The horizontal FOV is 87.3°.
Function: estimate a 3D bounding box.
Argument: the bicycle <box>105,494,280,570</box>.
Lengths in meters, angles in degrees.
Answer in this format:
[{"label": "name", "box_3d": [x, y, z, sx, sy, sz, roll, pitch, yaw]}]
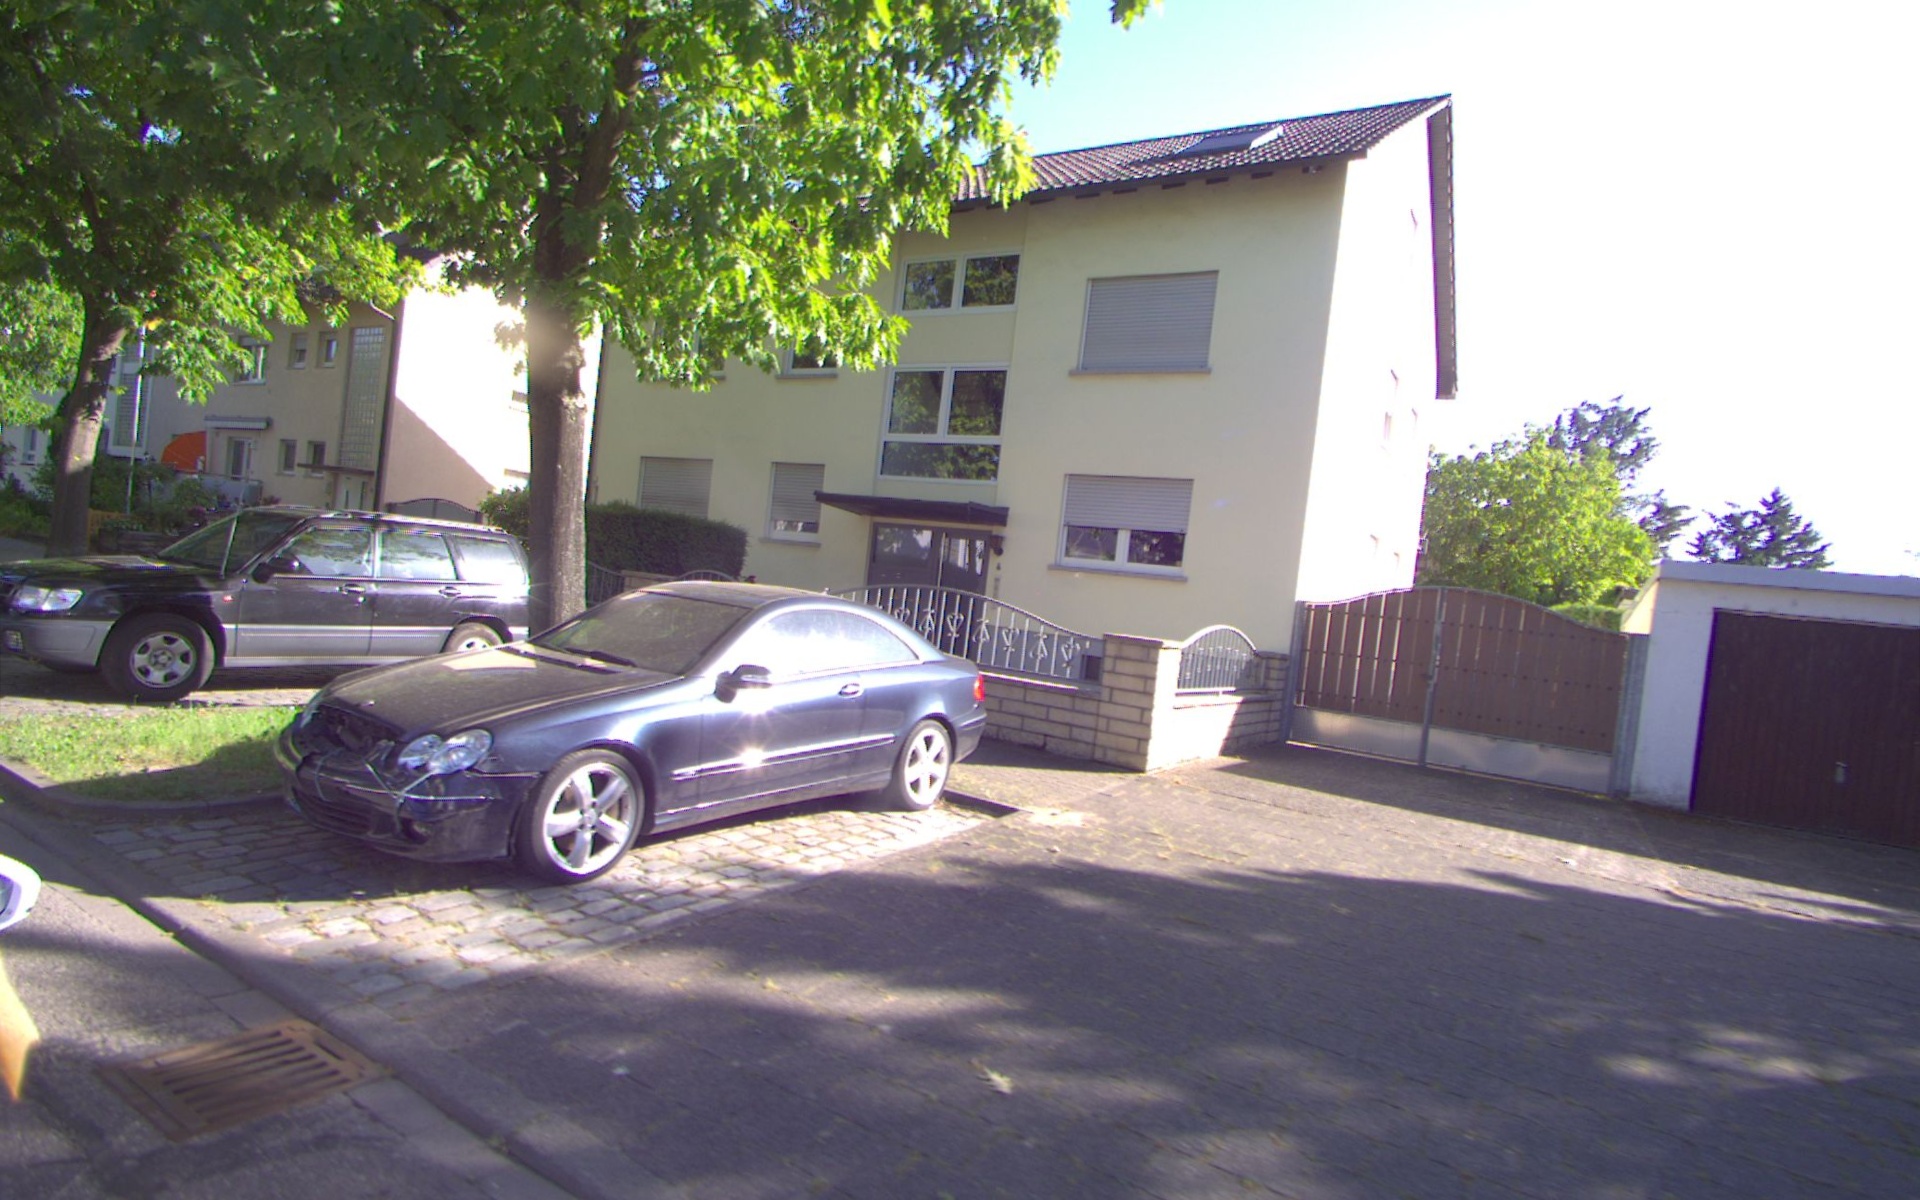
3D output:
[{"label": "bicycle", "box_3d": [-15.738, -1.355, 20.750, 0.460, 1.253, 2.860, 6, 1, 31]}]

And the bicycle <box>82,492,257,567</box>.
[{"label": "bicycle", "box_3d": [-16.578, -1.452, 21.220, 0.460, 1.253, 2.860, 7, 1, 31]}]

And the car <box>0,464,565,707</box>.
[{"label": "car", "box_3d": [-5.955, -0.084, 8.819, 1.836, 1.580, 4.342, 7, 1, 30]}]

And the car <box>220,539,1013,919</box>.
[{"label": "car", "box_3d": [-1.560, 0.557, 6.137, 1.663, 1.349, 4.427, 7, 2, 33]}]

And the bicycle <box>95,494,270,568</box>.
[{"label": "bicycle", "box_3d": [-16.141, -1.407, 21.004, 0.460, 1.253, 2.859, 6, 1, 31]}]
